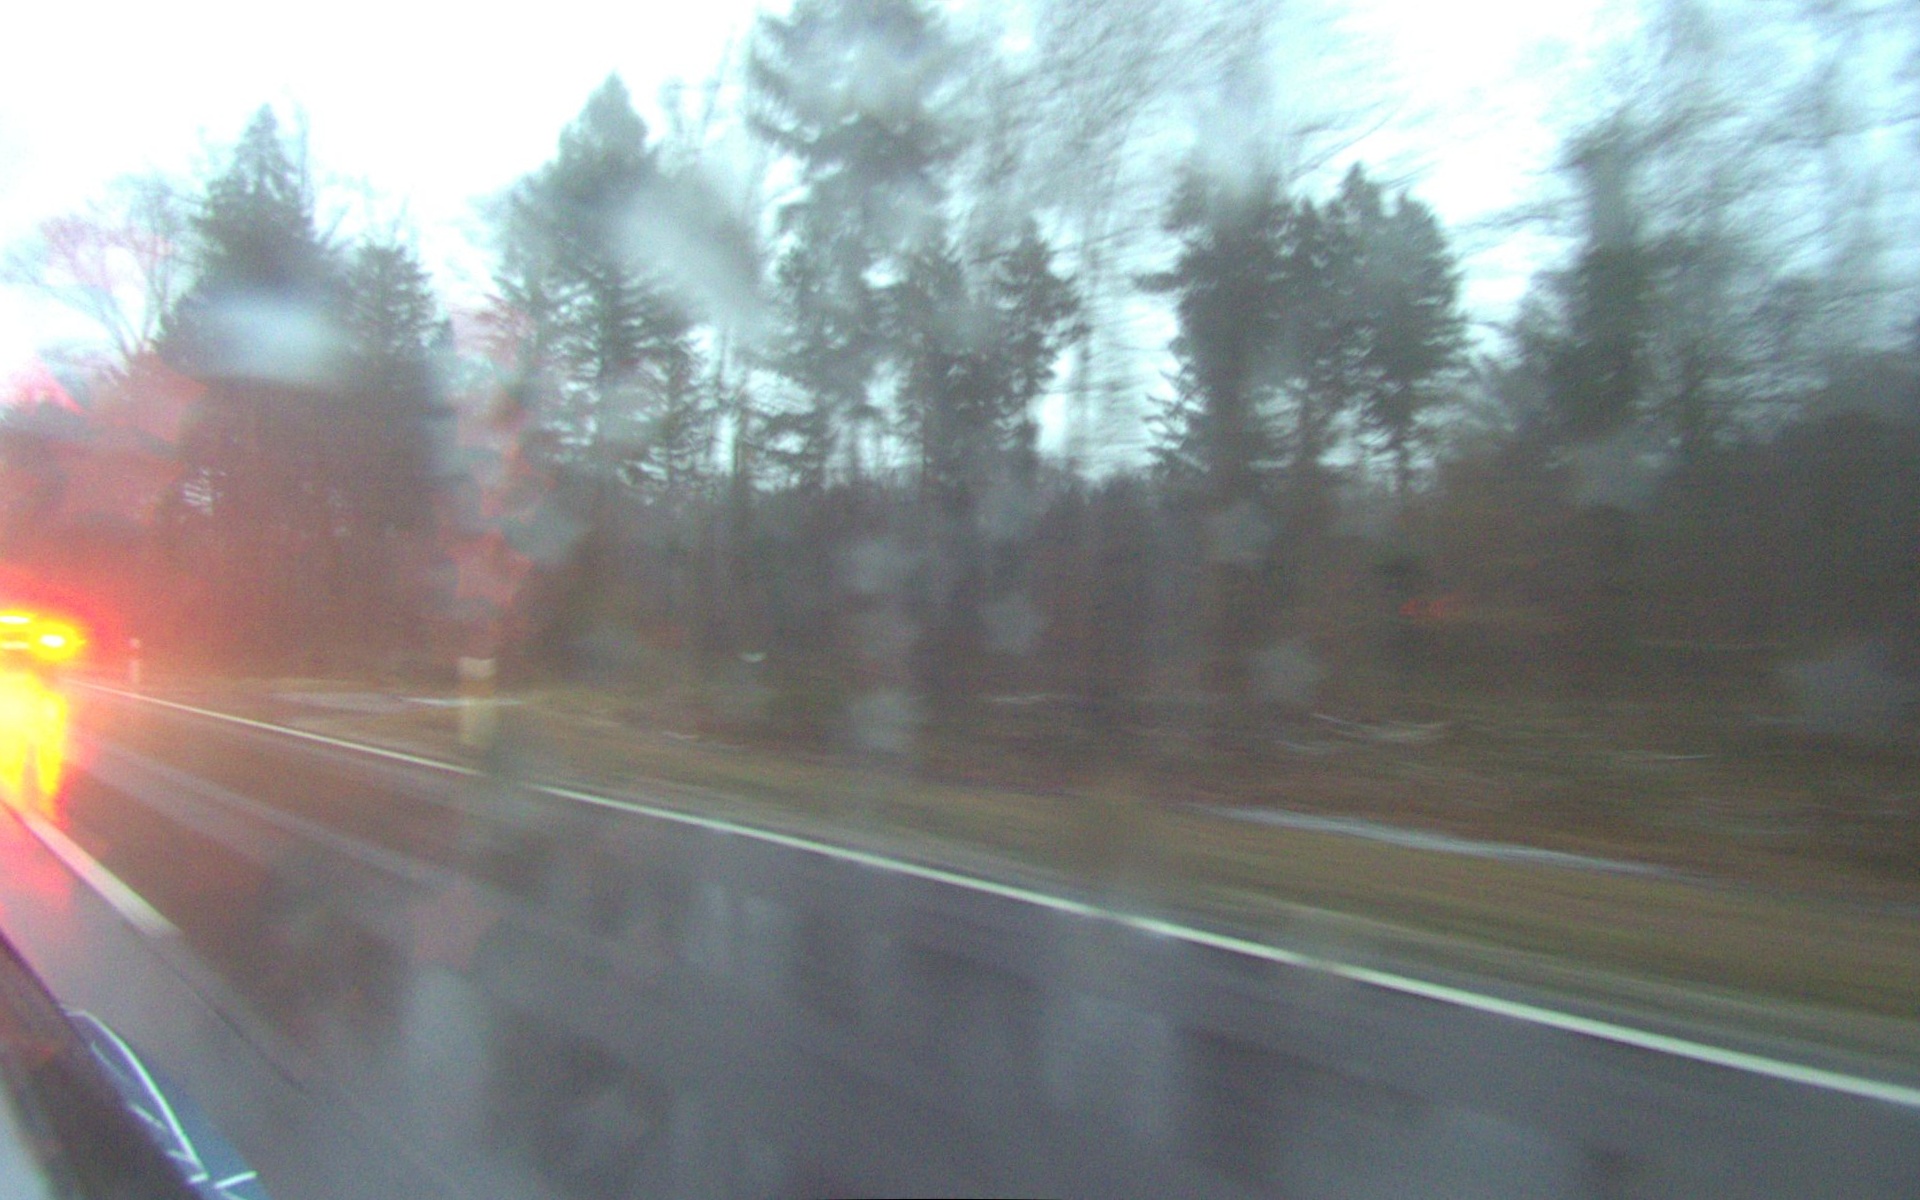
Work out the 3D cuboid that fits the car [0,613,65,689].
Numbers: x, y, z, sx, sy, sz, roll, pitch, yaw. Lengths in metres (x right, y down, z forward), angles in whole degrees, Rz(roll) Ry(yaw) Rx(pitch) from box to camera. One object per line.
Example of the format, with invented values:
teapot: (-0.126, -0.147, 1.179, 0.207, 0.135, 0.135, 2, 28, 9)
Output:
car: (-22.914, 1.206, 24.083, 4.747, 1.661, 1.803, -2, -4, 41)
